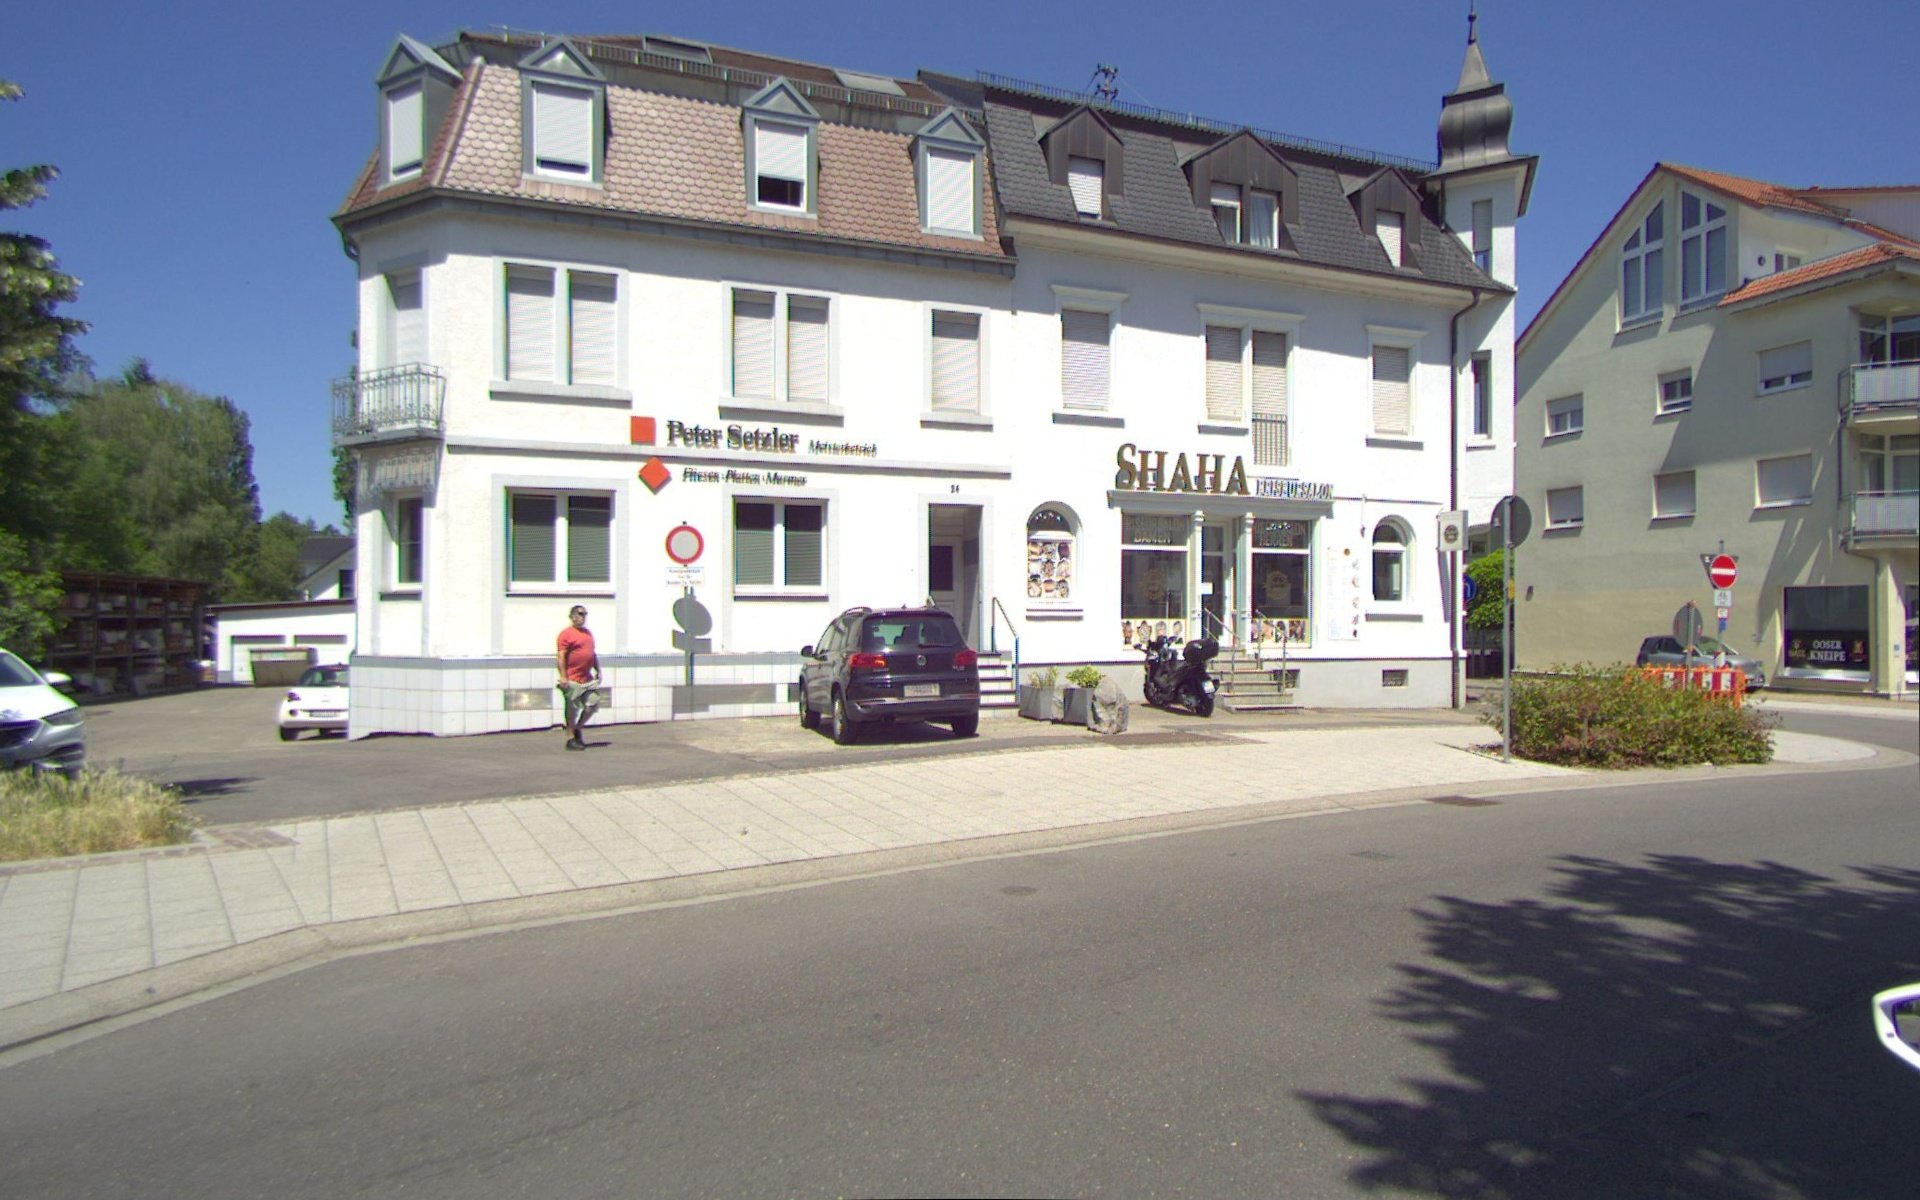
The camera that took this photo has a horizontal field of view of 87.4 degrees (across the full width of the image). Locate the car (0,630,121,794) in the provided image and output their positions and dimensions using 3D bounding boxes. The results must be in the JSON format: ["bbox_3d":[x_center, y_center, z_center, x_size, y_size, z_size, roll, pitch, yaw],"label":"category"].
[{"bbox_3d":[-10.305,1.013,10.008,4.634,1.374,1.992,0,-2,37],"label":"car"}]

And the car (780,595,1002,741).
[{"bbox_3d":[-1.127,0.837,13.845,1.941,1.684,4.174,1,-1,-21],"label":"car"}]

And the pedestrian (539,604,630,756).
[{"bbox_3d":[-4.603,0.962,12.329,0.724,1.777,0.737,-1,-2,29],"label":"pedestrian"}]

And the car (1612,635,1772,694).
[{"bbox_3d":[20.363,1.747,28.087,1.666,1.477,3.258,0,-1,-21],"label":"car"}]

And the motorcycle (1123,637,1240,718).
[{"bbox_3d":[3.704,1.274,17.060,0.820,1.233,2.393,2,-2,-18],"label":"motorcycle"}]

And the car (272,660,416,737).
[{"bbox_3d":[-12.821,2.055,21.170,1.735,1.450,3.985,1,-5,-19],"label":"car"}]

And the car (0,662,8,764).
[{"bbox_3d":[-14.974,1.562,13.878,3.937,1.362,1.993,-4,-5,37],"label":"car"}]
